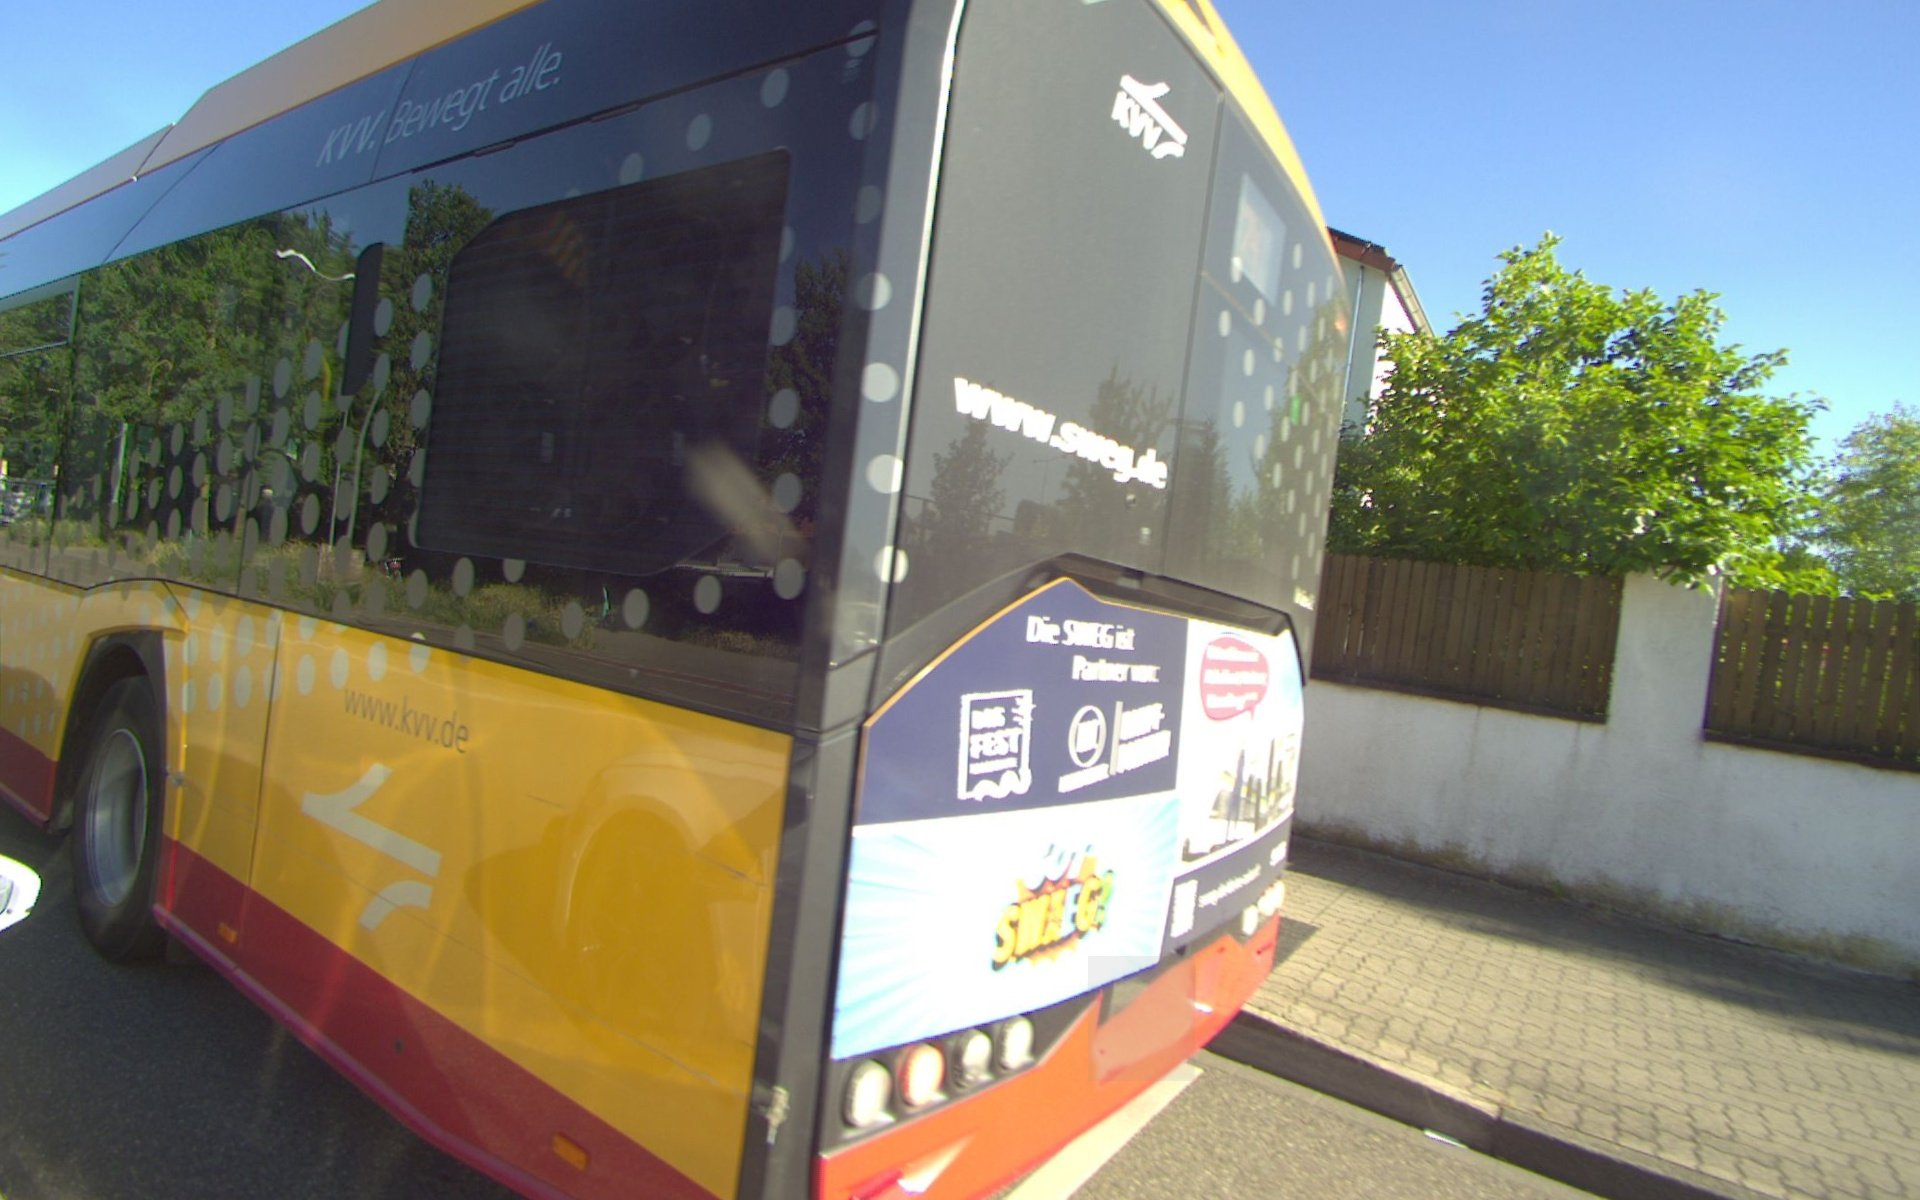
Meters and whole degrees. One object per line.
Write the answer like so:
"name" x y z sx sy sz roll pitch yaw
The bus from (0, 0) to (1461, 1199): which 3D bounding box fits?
"bus" -4.161 -0.845 5.928 12.207 3.502 2.757 6 0 36
